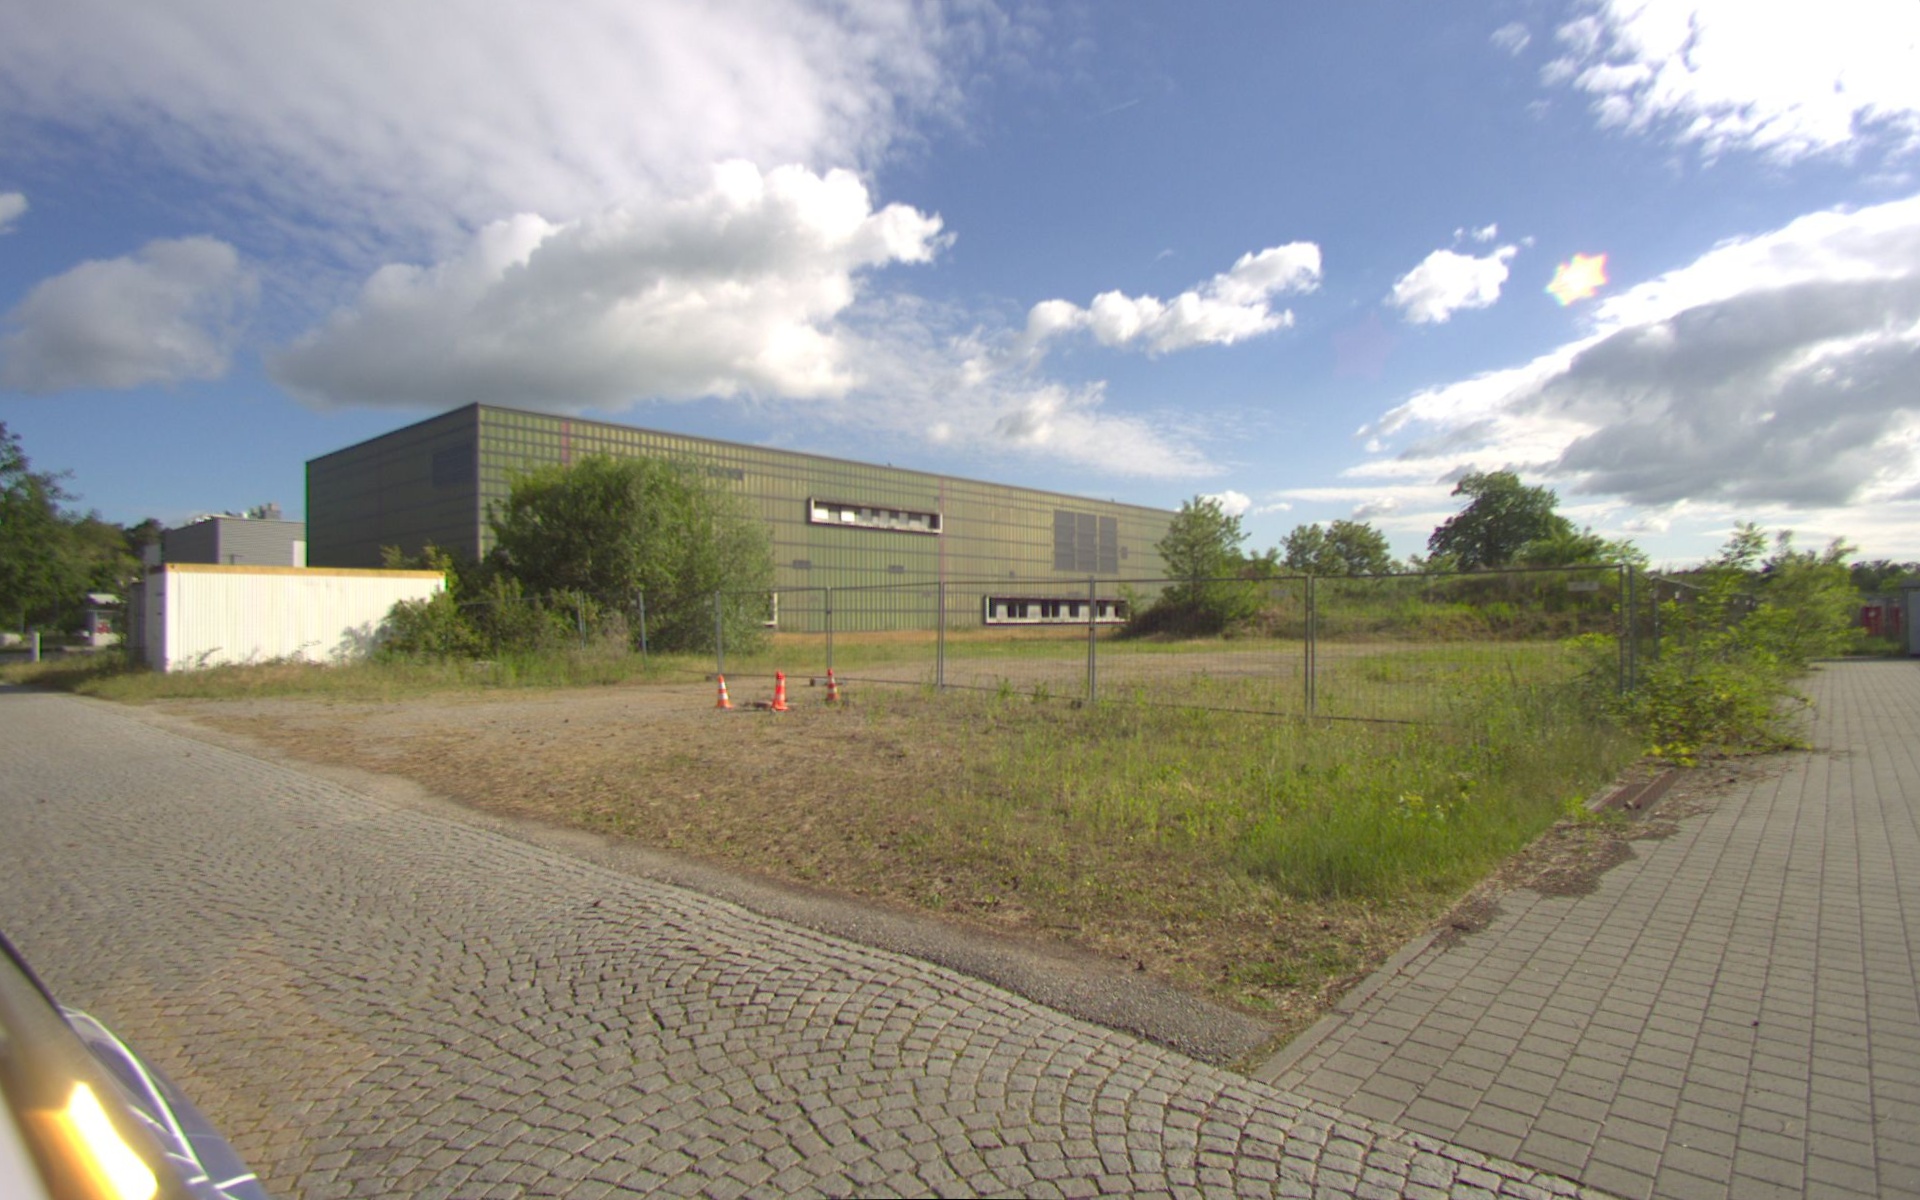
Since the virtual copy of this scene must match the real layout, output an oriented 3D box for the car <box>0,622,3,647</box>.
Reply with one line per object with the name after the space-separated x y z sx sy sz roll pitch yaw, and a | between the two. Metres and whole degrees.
-67.025 2.350 67.954 2.001 1.701 3.942 -2 -2 44 | car
